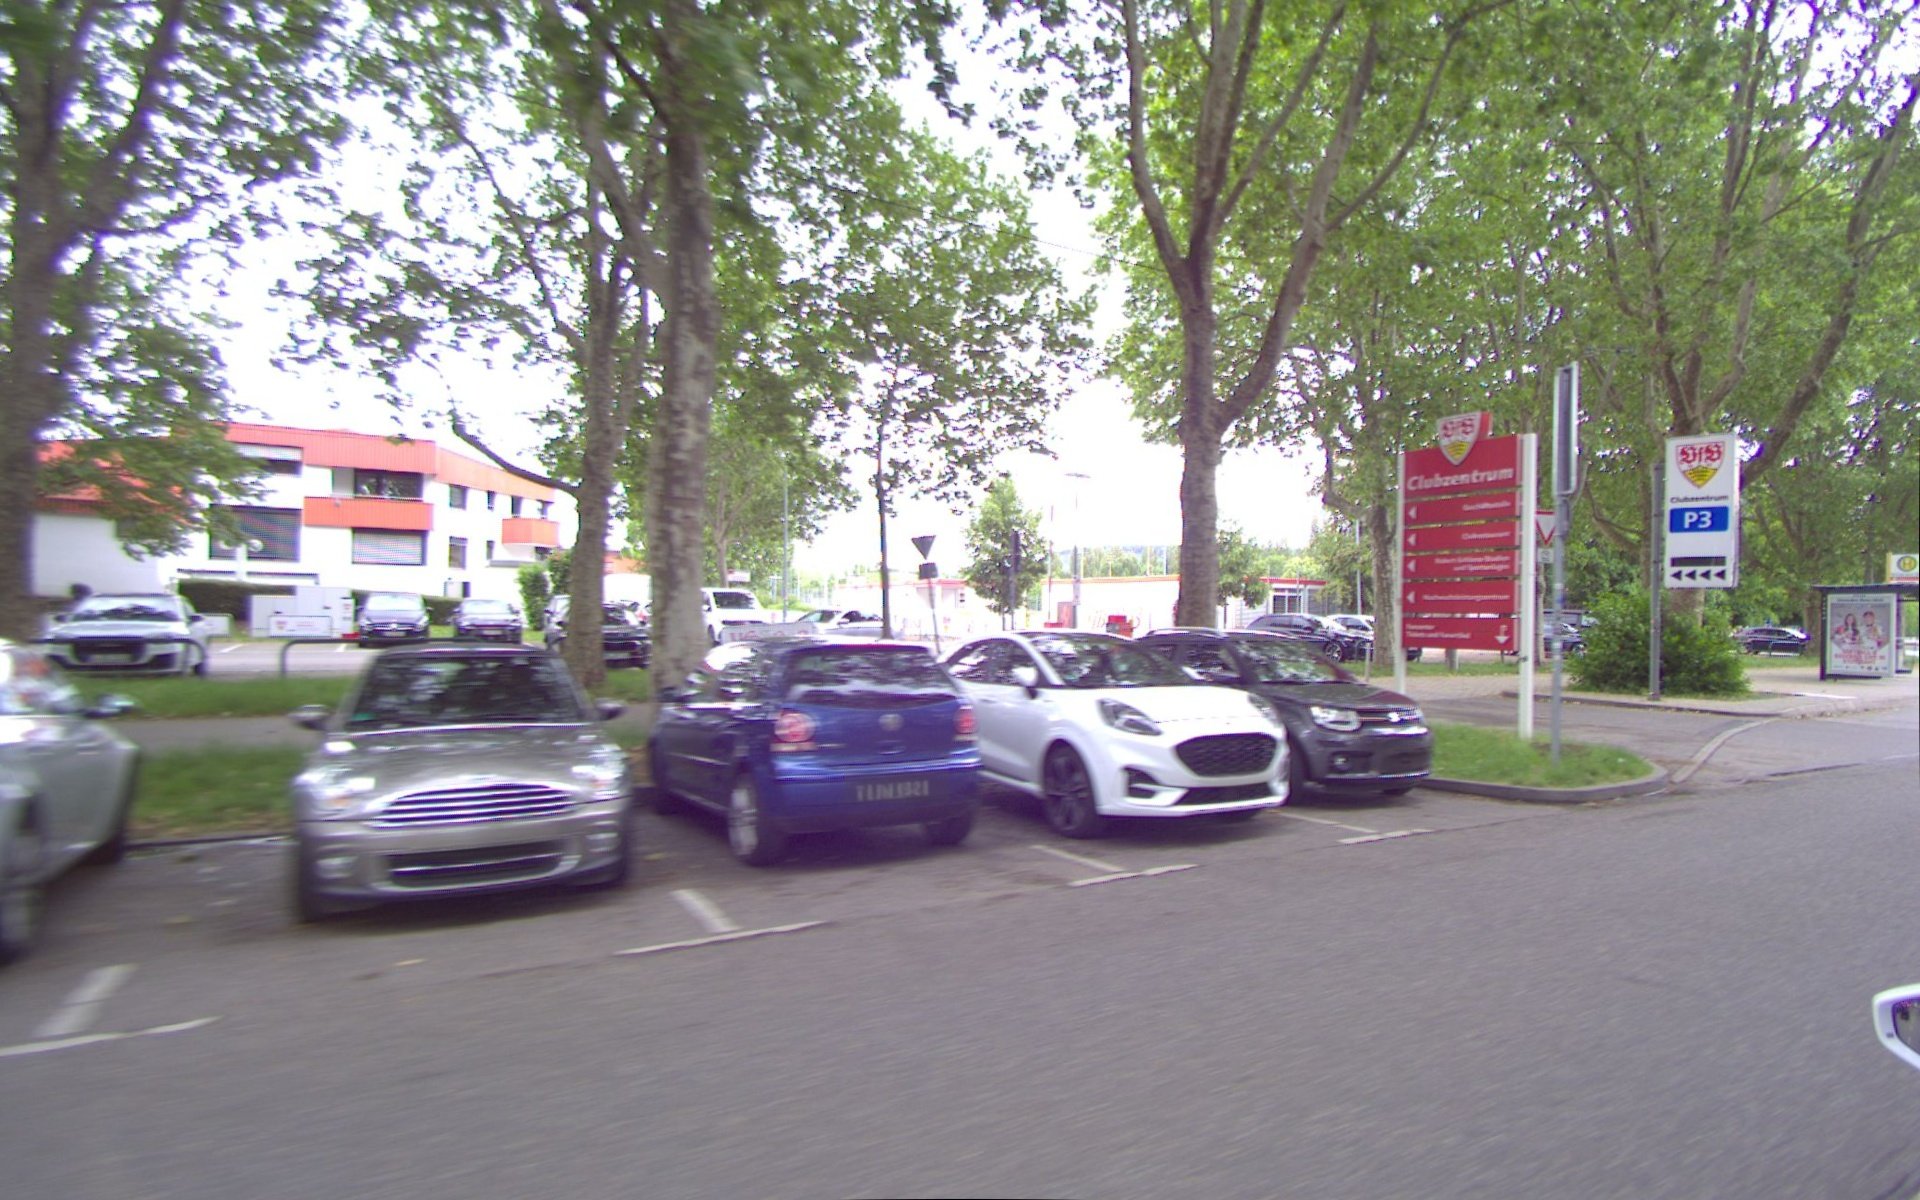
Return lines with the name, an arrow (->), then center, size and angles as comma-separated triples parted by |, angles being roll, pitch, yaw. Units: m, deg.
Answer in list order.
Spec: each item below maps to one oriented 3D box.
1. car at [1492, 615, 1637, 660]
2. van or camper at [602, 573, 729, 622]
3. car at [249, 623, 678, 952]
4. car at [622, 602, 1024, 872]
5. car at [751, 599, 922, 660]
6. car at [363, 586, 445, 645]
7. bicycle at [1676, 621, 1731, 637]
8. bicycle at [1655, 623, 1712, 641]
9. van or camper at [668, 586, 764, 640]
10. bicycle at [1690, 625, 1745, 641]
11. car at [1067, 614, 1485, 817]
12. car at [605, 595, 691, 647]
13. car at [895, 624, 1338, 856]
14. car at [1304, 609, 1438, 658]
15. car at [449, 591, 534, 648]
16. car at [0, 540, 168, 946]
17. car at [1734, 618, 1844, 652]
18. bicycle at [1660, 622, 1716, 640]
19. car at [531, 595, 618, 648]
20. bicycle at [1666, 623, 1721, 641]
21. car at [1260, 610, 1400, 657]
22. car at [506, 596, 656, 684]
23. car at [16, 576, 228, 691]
car -> 24.269, 1.470, 40.509 | 2.082, 1.588, 4.608 | 3, -1, -27
van or camper -> -13.462, -0.098, 46.002 | 5.243, 2.040, 1.983 | 2, 0, -31
car -> -3.268, 0.957, 6.582 | 1.840, 1.423, 3.970 | 2, -4, -30
car -> -1.345, 0.823, 8.001 | 1.811, 1.513, 3.975 | 2, 0, -30
car -> -3.483, 0.834, 29.251 | 2.067, 1.572, 4.959 | 1, 0, 37
car -> -16.311, 0.417, 29.423 | 1.936, 1.569, 4.299 | 2, 0, -30
bicycle -> 54.259, 2.101, 73.371 | 0.768, 1.112, 3.149 | 2, -1, -45
bicycle -> 51.417, 2.269, 71.420 | 0.768, 1.112, 3.149 | 2, 0, -44
van or camper -> -8.546, 0.414, 34.917 | 2.107, 1.732, 4.299 | 2, 0, -30
bicycle -> 55.417, 2.404, 73.539 | 0.768, 1.112, 3.149 | 2, -2, -45
car -> 2.962, 0.979, 10.305 | 1.782, 1.561, 3.977 | 2, 0, -28
car -> -10.401, 0.660, 33.350 | 1.769, 1.569, 4.196 | 2, 0, -31
car -> 1.073, 0.987, 8.799 | 1.886, 1.403, 3.980 | 2, 0, -26
car -> 14.221, 1.134, 34.971 | 1.978, 1.543, 3.969 | 2, 0, -29
car -> -14.304, 0.551, 30.534 | 1.936, 1.569, 4.299 | 2, 0, -30
car -> -5.444, 0.625, 4.934 | 1.887, 1.568, 4.242 | 2, -4, -31
car -> 42.213, 1.780, 51.189 | 2.213, 1.627, 3.956 | 2, -1, -38
bicycle -> 52.419, 2.232, 72.345 | 0.768, 1.112, 3.149 | 2, 0, -44
car -> -12.485, 0.648, 32.401 | 1.936, 1.569, 4.299 | 2, 0, -30
bicycle -> 53.205, 2.311, 72.913 | 0.768, 1.112, 3.149 | 2, 0, -45
car -> 12.114, 1.074, 33.126 | 1.978, 1.341, 3.967 | 2, 0, -30
car -> -7.925, 0.752, 20.746 | 2.178, 1.569, 4.299 | 2, 0, -30
car -> -14.347, 0.505, 17.498 | 2.107, 1.732, 4.299 | 2, 0, -30
